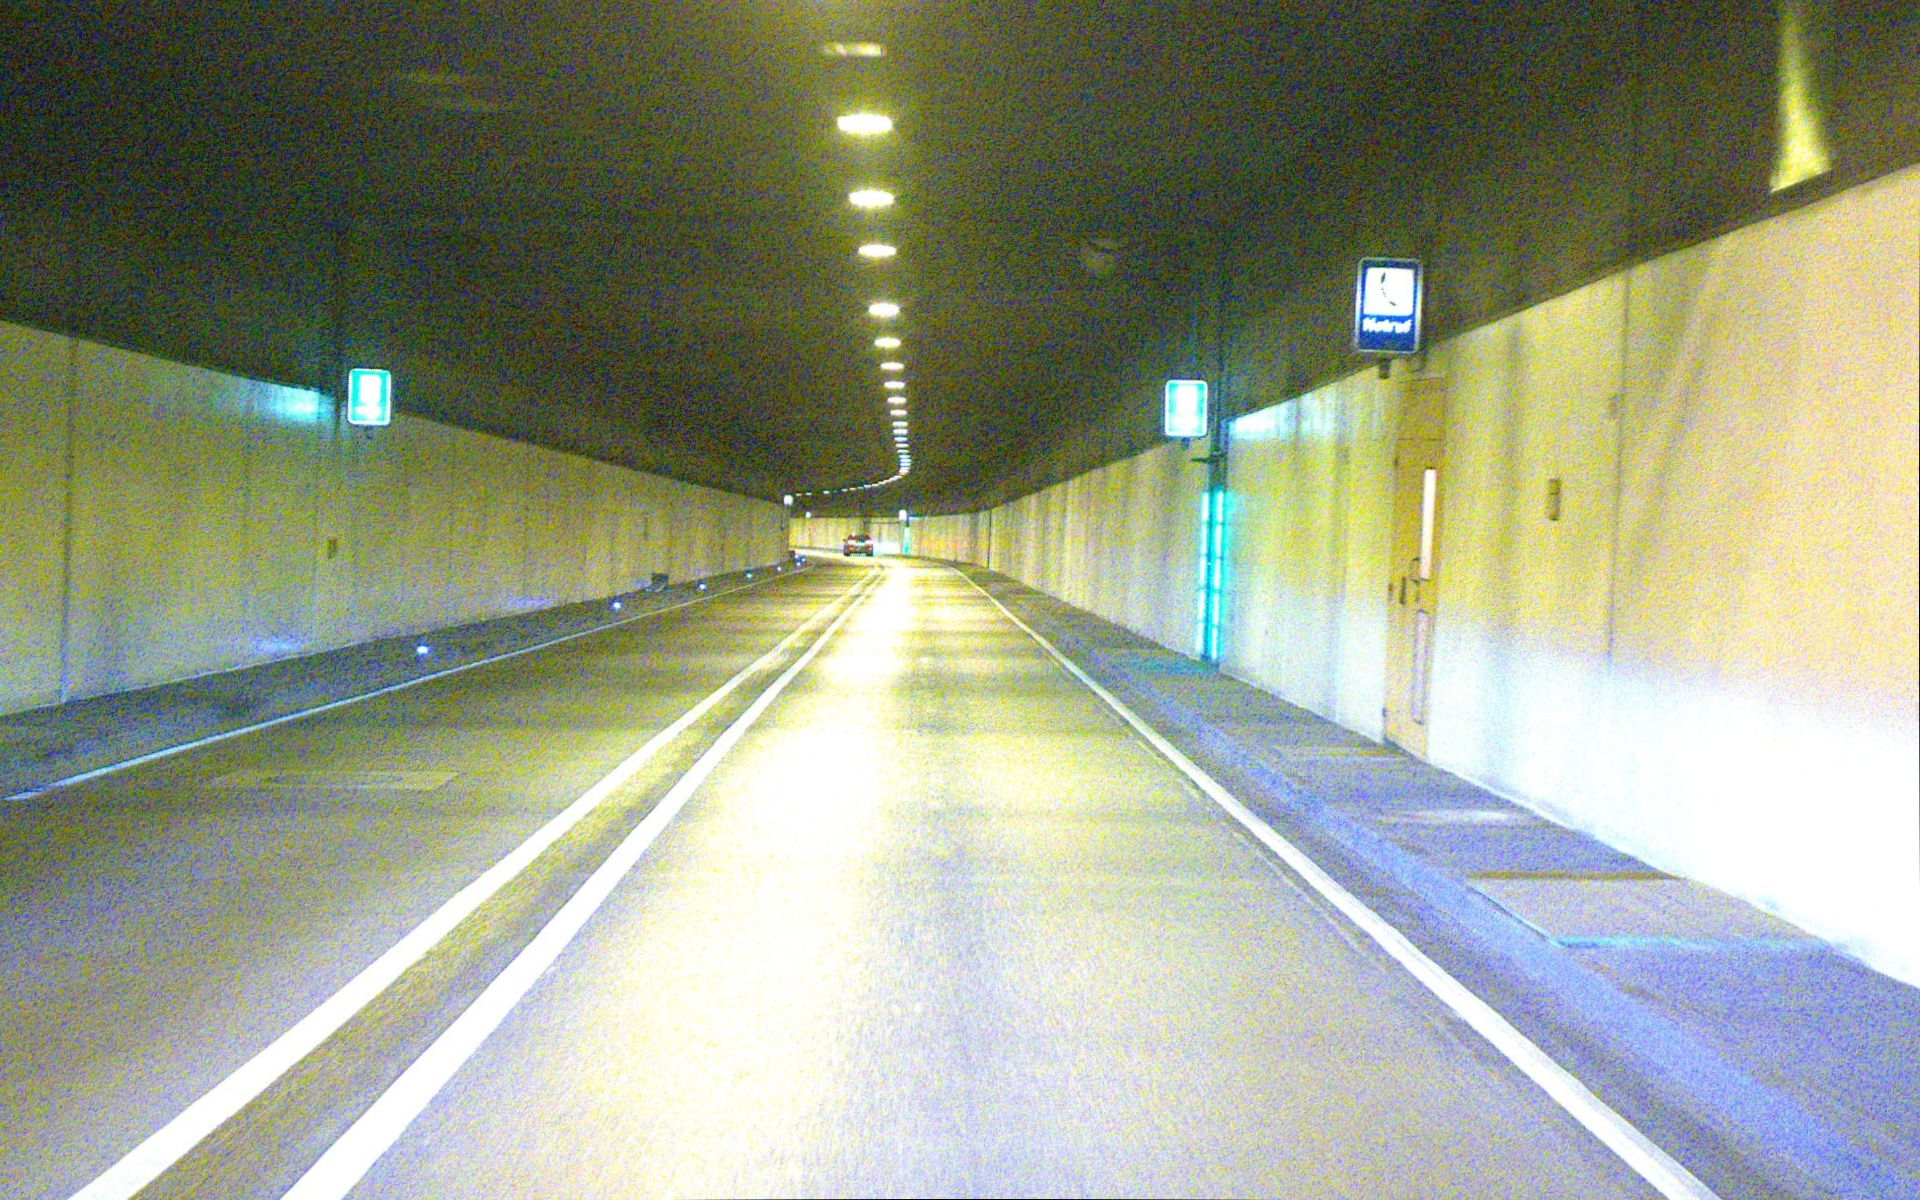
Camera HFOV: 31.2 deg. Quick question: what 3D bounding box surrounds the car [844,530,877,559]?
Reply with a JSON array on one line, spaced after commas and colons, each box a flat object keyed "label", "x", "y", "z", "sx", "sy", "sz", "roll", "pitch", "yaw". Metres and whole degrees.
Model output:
[{"label": "car", "x": -6.968, "y": -3.901, "z": 240.717, "sx": 1.966, "sy": 1.932, "sz": 4.613, "roll": 1, "pitch": 0, "yaw": -5}]
